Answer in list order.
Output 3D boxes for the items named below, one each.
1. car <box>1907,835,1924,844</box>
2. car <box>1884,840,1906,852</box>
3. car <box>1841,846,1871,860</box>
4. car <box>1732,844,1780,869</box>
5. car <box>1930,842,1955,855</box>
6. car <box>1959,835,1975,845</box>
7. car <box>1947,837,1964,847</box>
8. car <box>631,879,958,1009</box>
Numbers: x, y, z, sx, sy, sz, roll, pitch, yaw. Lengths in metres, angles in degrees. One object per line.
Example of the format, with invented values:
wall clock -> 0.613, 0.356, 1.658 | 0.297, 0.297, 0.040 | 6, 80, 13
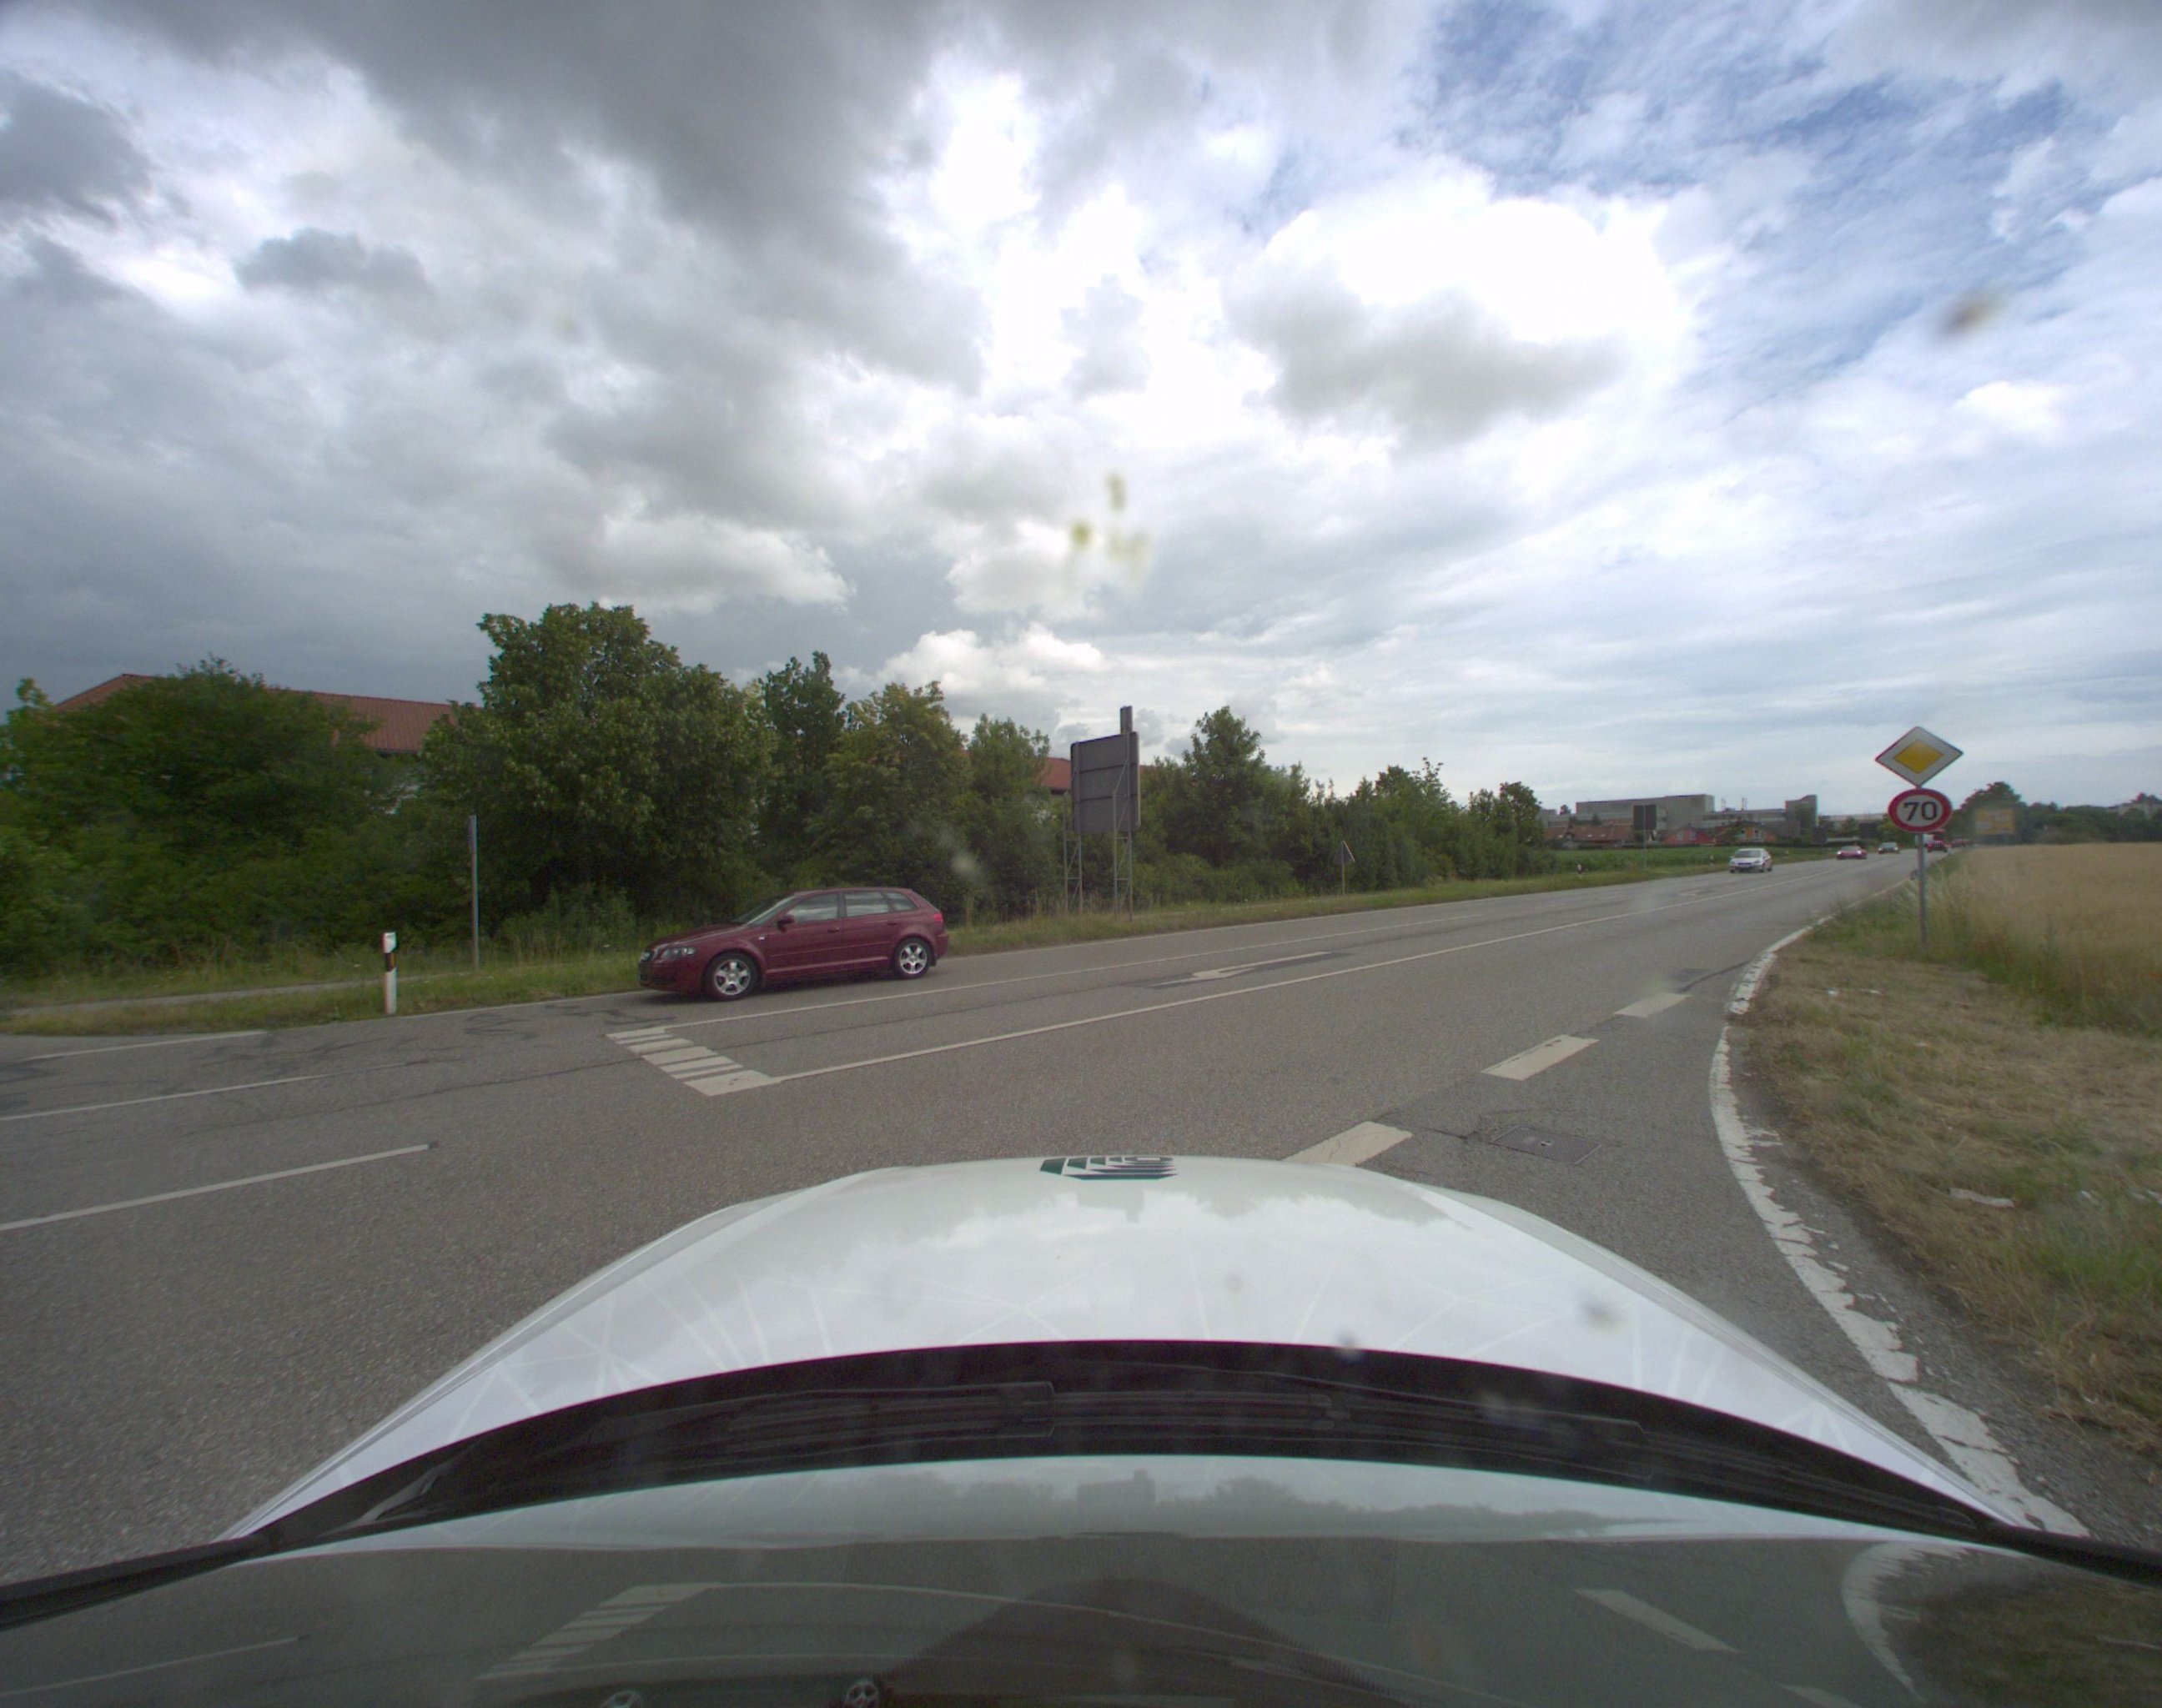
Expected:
car -> 157.121, -2.765, 153.332 | 4.700, 1.699, 1.976 | -1, -1, -41
car -> 103.288, -0.992, 103.272 | 4.326, 1.429, 1.654 | -1, -2, -42
car -> 74.829, -0.099, 78.617 | 4.235, 1.241, 1.755 | -1, -1, -43
car -> 42.708, 0.147, 51.519 | 3.956, 1.432, 1.714 | -1, -2, -42
car -> 113.623, -0.755, 107.398 | 4.020, 1.566, 1.843 | -1, 0, -39
car -> 173.367, -2.748, 159.376 | 4.020, 1.728, 1.843 | -1, 0, -39
car -> 159.386, -2.212, 148.377 | 4.020, 1.728, 1.843 | -1, 0, -39
car -> -3.997, 1.153, 11.756 | 4.111, 1.402, 1.658 | -1, -1, -41
